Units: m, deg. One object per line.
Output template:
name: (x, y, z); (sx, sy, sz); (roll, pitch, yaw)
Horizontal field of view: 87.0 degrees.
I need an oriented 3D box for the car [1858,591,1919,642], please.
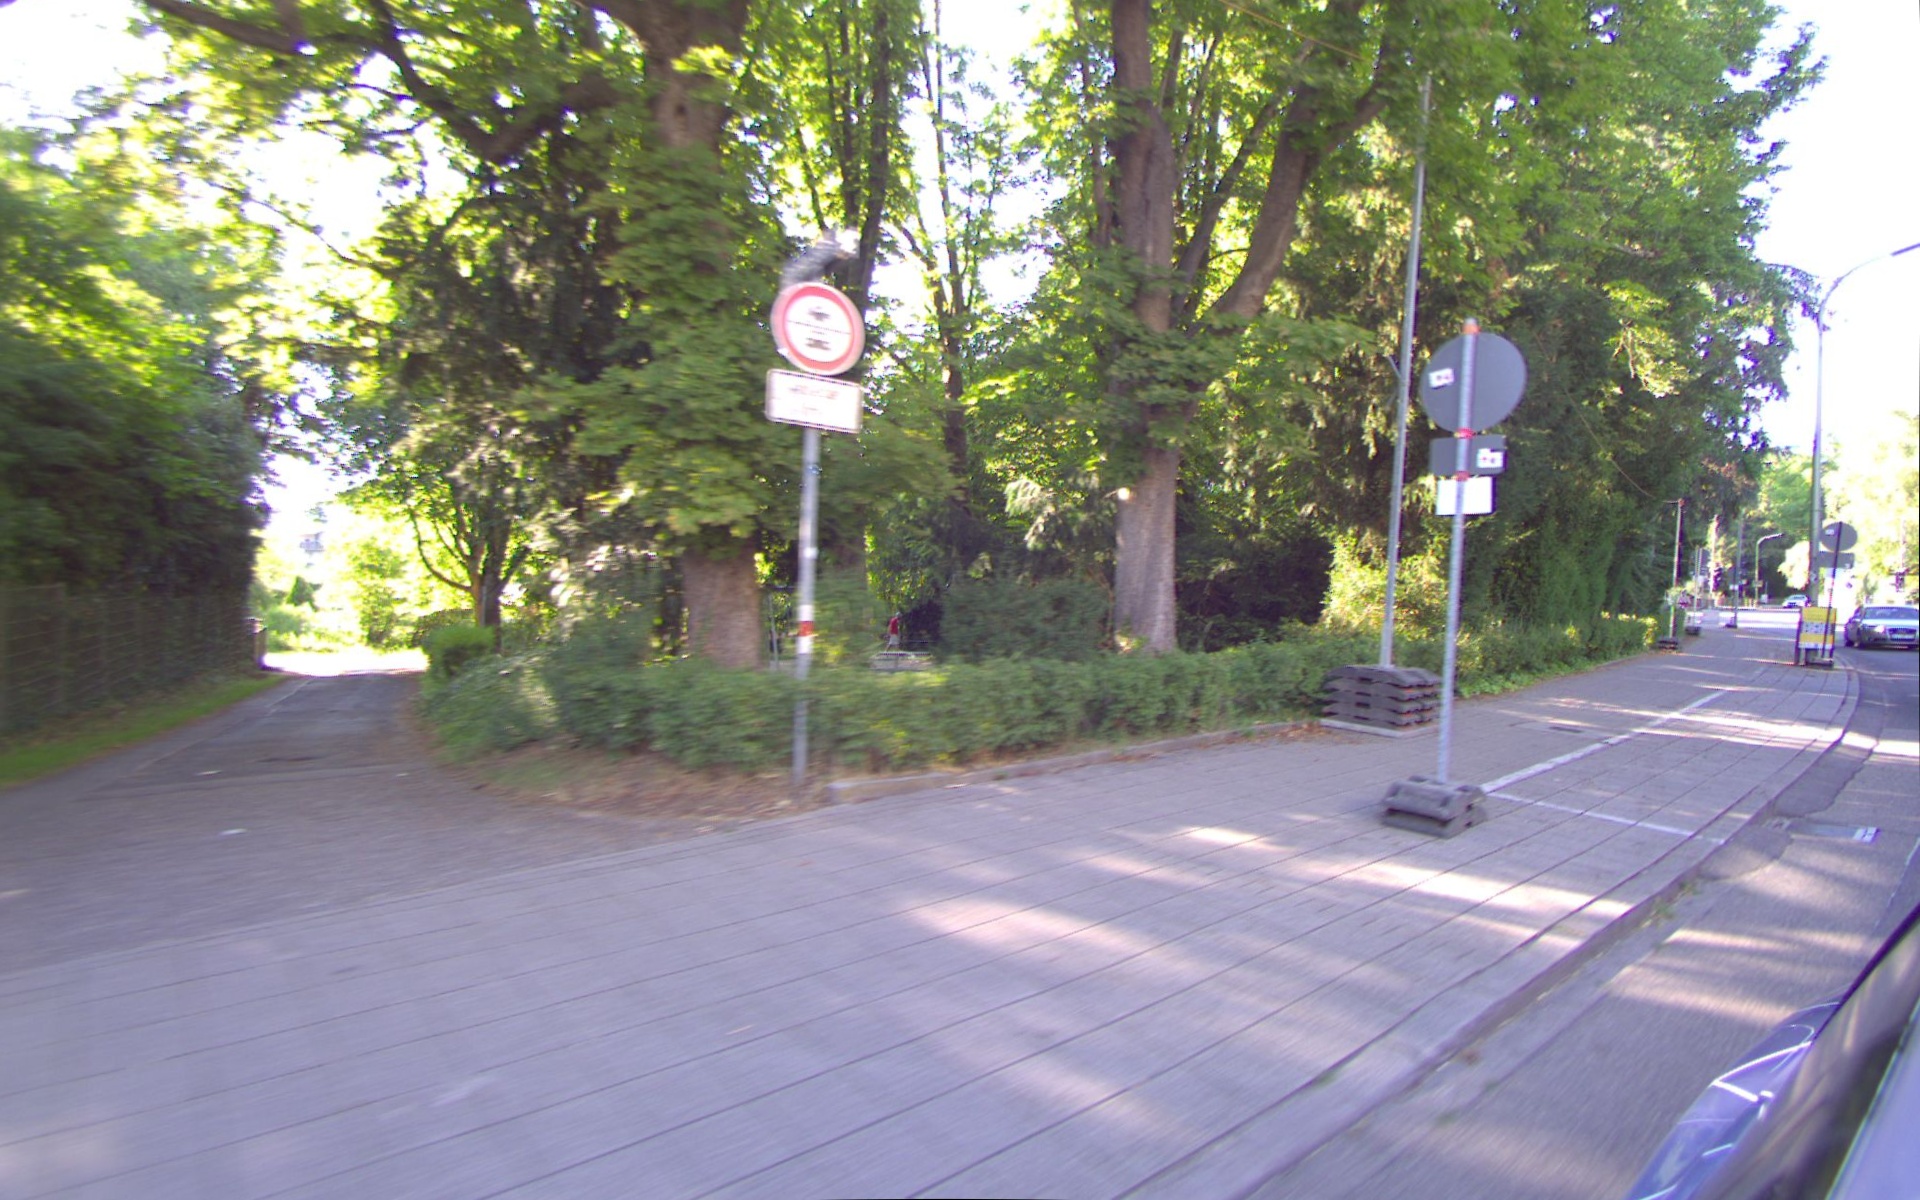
car: (29.785, 0.475, 32.027); (1.654, 1.495, 3.635); (1, 1, 36)
